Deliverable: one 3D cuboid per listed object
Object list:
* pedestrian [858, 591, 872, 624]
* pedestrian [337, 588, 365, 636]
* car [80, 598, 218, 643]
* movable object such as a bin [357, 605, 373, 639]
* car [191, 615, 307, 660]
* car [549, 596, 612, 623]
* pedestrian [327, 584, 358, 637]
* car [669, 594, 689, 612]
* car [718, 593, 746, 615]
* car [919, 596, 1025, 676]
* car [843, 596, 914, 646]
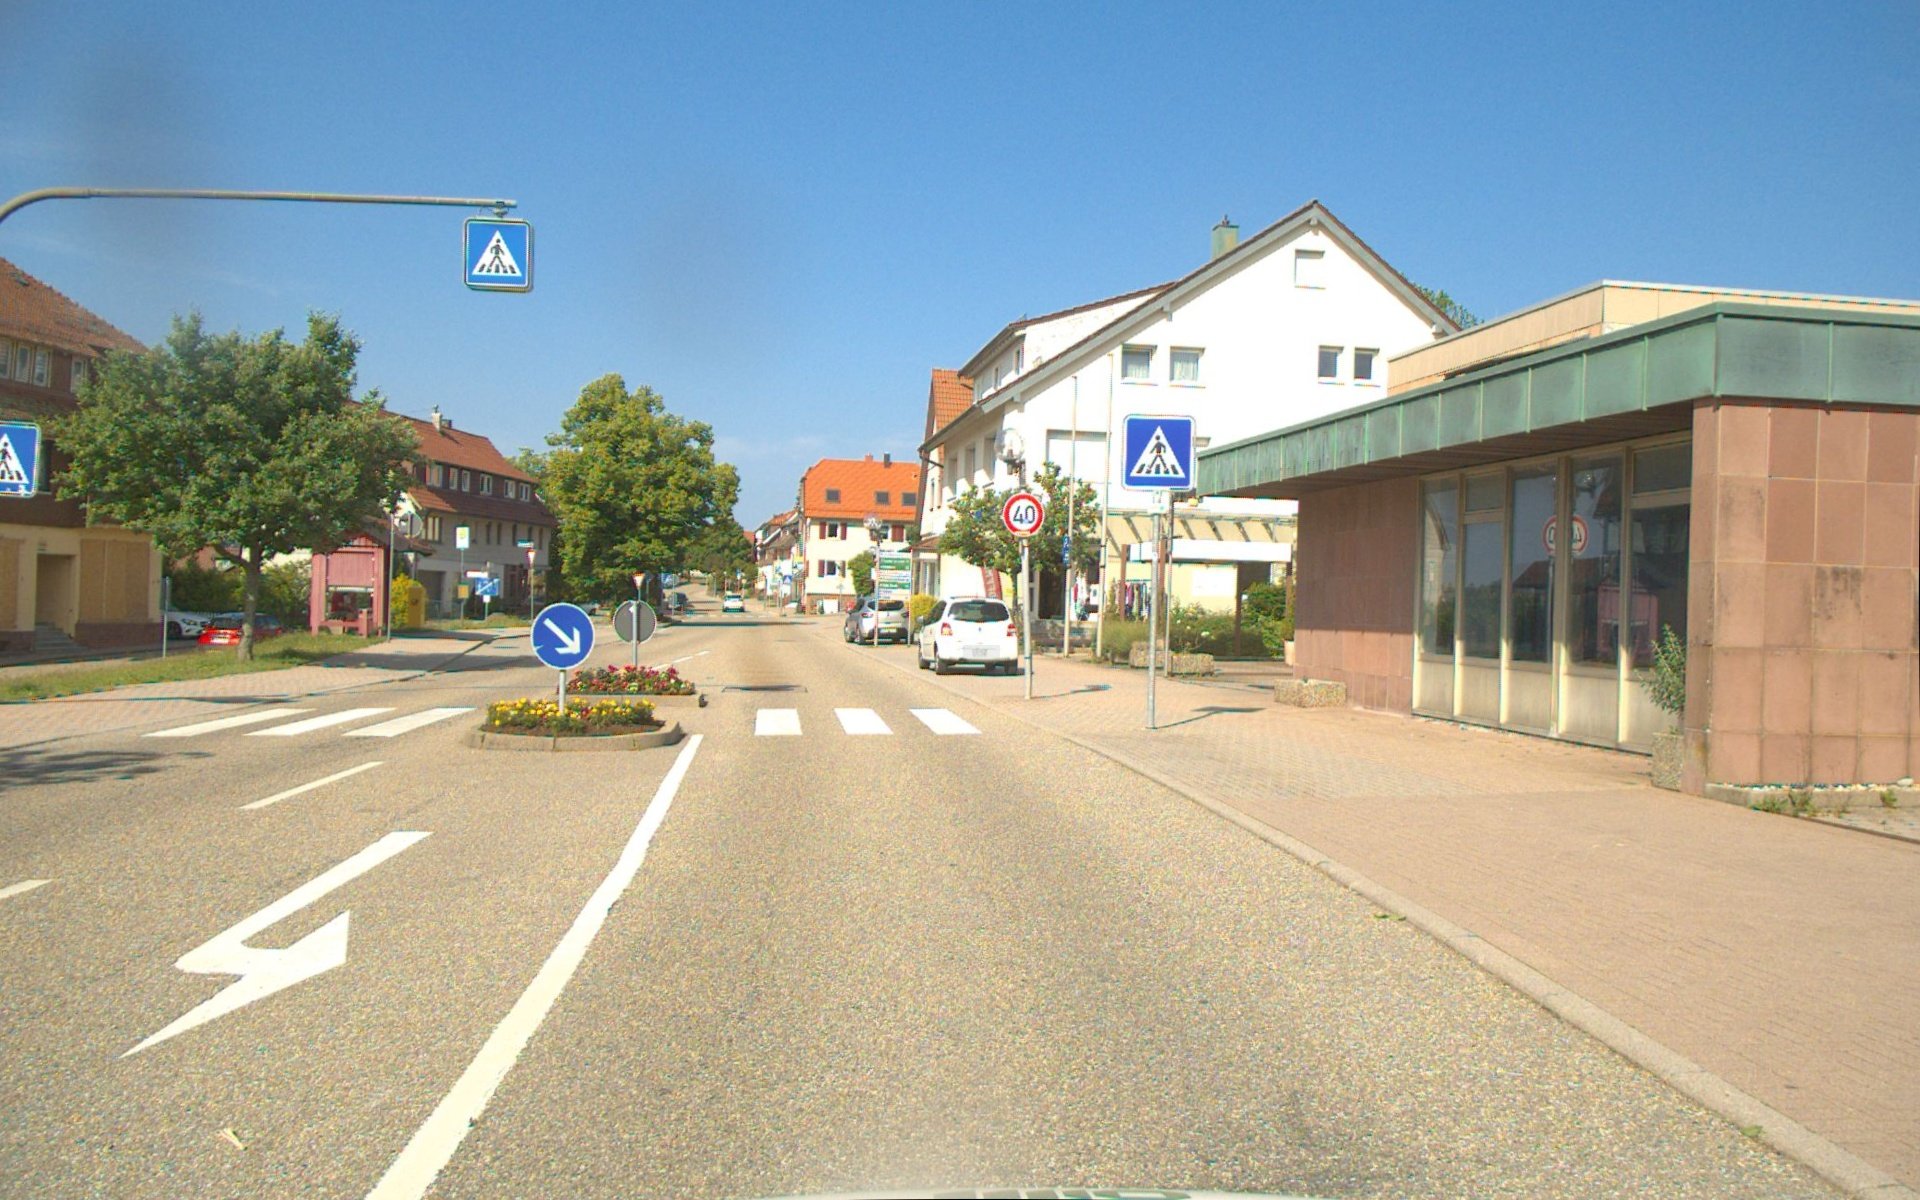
[{"bbox_3d":[-5.148,0.398,89.604,0.783,1.815,0.979,0,0,-3],"label":"pedestrian"},{"bbox_3d":[-16.486,0.317,44.768,0.618,1.275,0.422,-1,0,-11],"label":"pedestrian"},{"bbox_3d":[-30.252,0.788,61.752,4.212,1.538,1.800,2,-2,2],"label":"car"},{"bbox_3d":[-15.116,0.560,42.019,0.299,0.852,0.484,0,0,-11],"label":"movable object such as a bin"},{"bbox_3d":[-23.104,1.187,53.867,1.684,1.320,4.003,-1,0,6],"label":"car"},{"bbox_3d":[-24.929,0.642,108.704,3.680,1.480,1.818,-2,-5,4],"label":"car"},{"bbox_3d":[-16.489,0.279,44.174,0.606,1.388,0.673,-1,1,-10],"label":"pedestrian"},{"bbox_3d":[-26.318,0.304,154.965,1.642,1.559,3.529,5,-1,-8],"label":"car"},{"bbox_3d":[-21.727,0.383,157.518,2.449,2.049,4.295,-2,0,-9],"label":"car"},{"bbox_3d":[0.185,0.671,32.888,1.726,1.448,3.629,-1,0,-6],"label":"car"},{"bbox_3d":[-2.560,0.615,51.227,1.606,1.444,3.924,-1,0,-11],"label":"car"}]
